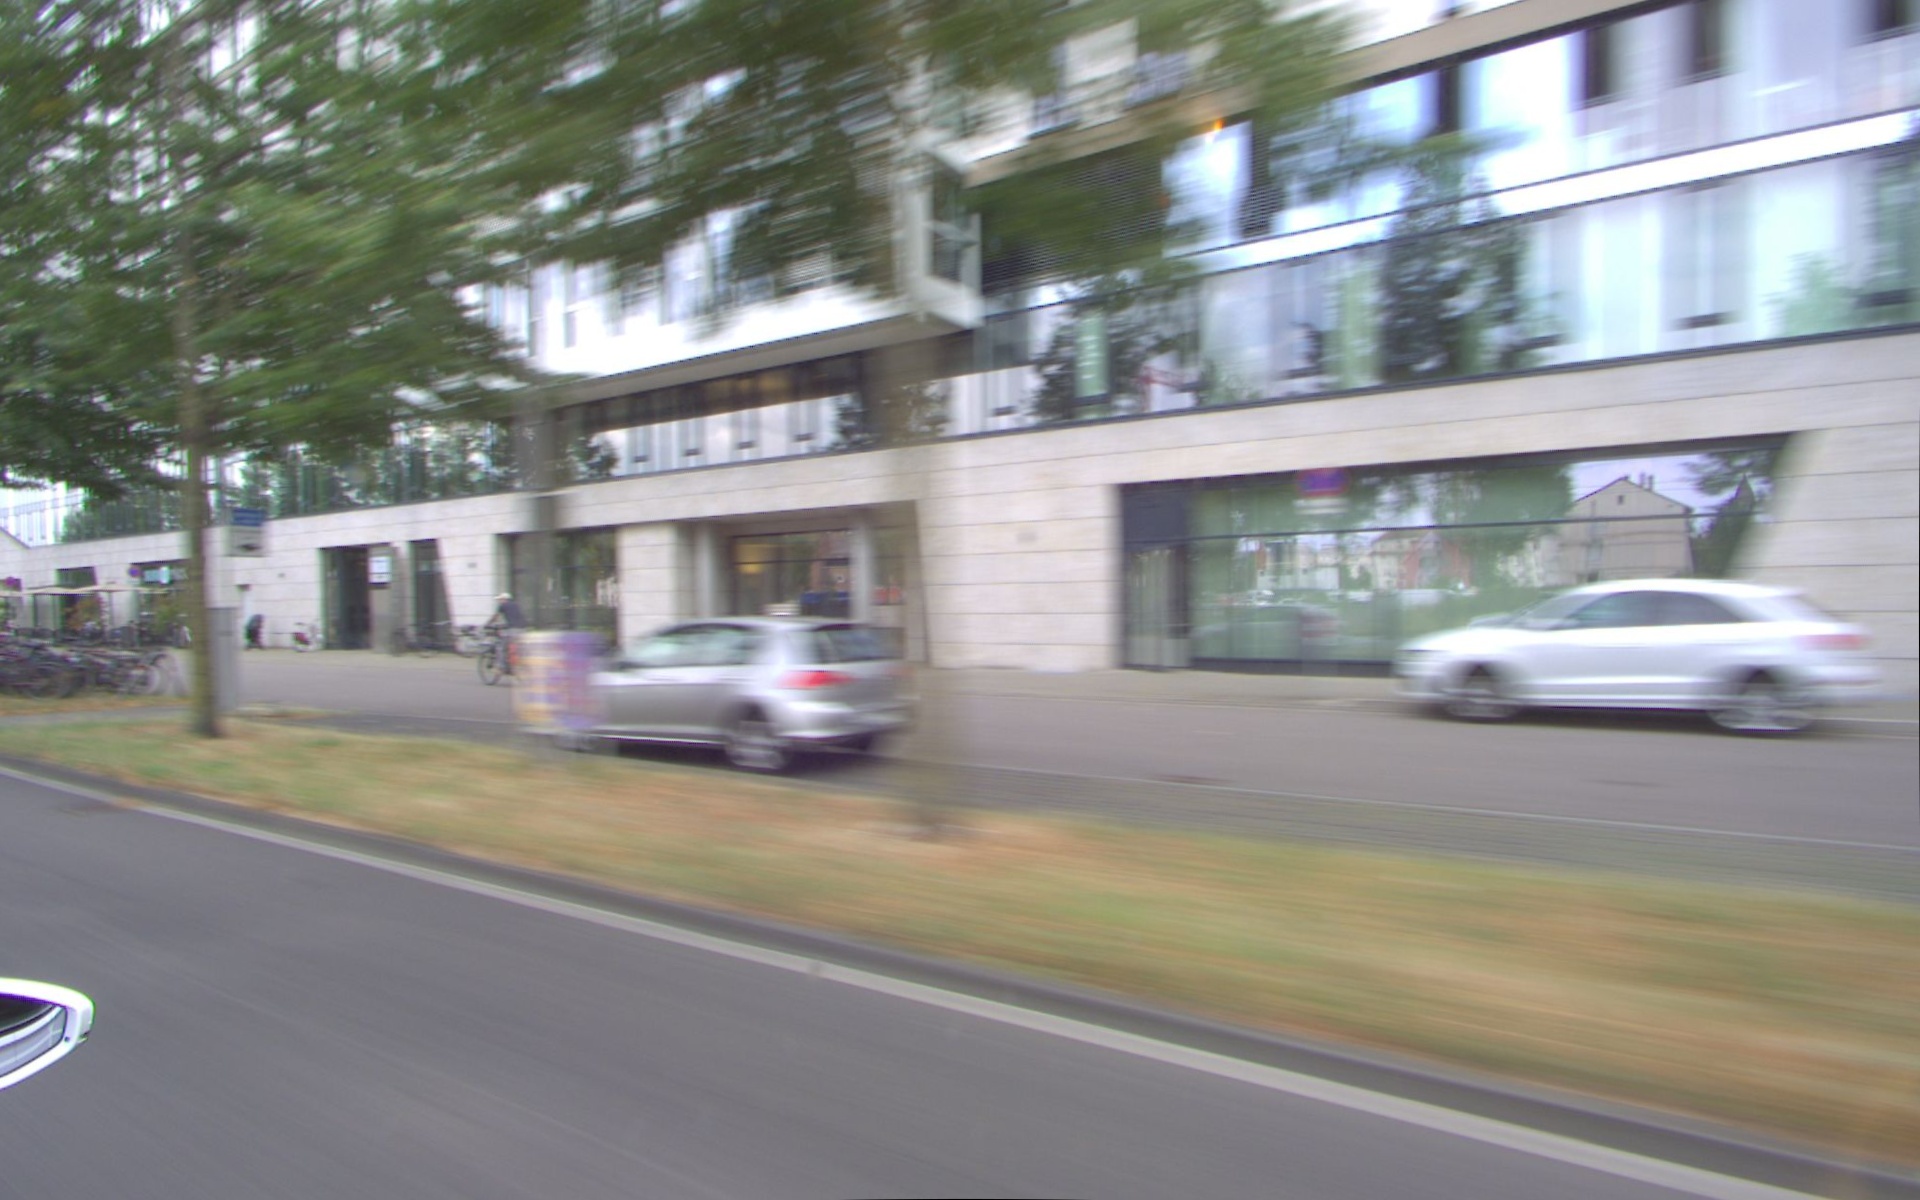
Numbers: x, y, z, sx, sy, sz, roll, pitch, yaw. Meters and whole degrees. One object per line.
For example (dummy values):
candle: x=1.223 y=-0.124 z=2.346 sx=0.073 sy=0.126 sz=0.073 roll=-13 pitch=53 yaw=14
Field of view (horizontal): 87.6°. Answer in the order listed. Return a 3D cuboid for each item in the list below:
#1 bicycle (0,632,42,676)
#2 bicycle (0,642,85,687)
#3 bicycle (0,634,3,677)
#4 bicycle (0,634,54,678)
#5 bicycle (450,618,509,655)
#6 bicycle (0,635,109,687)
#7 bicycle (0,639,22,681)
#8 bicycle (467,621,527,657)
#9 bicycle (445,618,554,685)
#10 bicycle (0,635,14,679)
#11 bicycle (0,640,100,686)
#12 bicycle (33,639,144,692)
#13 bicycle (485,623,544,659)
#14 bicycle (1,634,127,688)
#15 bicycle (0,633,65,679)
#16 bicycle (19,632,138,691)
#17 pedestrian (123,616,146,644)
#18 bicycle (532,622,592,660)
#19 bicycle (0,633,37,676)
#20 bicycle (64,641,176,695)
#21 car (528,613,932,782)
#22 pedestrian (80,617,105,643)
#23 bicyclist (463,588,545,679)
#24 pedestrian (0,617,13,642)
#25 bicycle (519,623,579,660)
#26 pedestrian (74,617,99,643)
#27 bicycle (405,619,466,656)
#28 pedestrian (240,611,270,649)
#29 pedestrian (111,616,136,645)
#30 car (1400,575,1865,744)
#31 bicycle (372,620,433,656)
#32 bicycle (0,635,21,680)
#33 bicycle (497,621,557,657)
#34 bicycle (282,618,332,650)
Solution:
bicycle: x=-22.054 y=1.217 z=22.672 sx=0.599 sy=0.986 sz=1.745 roll=0 pitch=-3 yaw=24
bicycle: x=-19.739 y=1.368 z=21.199 sx=0.579 sy=0.917 sz=1.716 roll=0 pitch=-3 yaw=24
bicycle: x=-24.868 y=1.352 z=24.536 sx=0.632 sy=1.078 sz=1.929 roll=0 pitch=-3 yaw=29
bicycle: x=-21.361 y=1.237 z=22.219 sx=0.599 sy=0.986 sz=1.745 roll=0 pitch=-3 yaw=24
bicycle: x=-14.105 y=1.057 z=29.422 sx=0.525 sy=1.040 sz=1.527 roll=0 pitch=0 yaw=29
bicycle: x=-18.634 y=1.240 z=20.472 sx=0.600 sy=1.024 sz=1.774 roll=0 pitch=-3 yaw=24
bicycle: x=-23.265 y=1.393 z=23.463 sx=0.599 sy=0.986 sz=1.745 roll=0 pitch=-3 yaw=24
bicycle: x=-13.343 y=1.113 z=28.890 sx=0.525 sy=0.966 sz=1.527 roll=0 pitch=0 yaw=29
bicycle: x=-9.432 y=1.028 z=20.495 sx=2.235 sy=1.252 sz=0.899 roll=-1 pitch=3 yaw=32
bicycle: x=-24.241 y=1.372 z=24.181 sx=0.535 sy=1.078 sz=1.932 roll=0 pitch=-3 yaw=24
bicycle: x=-19.187 y=1.308 z=20.939 sx=0.579 sy=0.917 sz=1.716 roll=0 pitch=-3 yaw=24
bicycle: x=-16.752 y=1.246 z=19.281 sx=0.477 sy=0.965 sz=1.528 roll=0 pitch=-2 yaw=29
bicycle: x=-12.646 y=1.142 z=28.473 sx=0.525 sy=0.966 sz=1.527 roll=0 pitch=0 yaw=29
bicycle: x=-18.012 y=1.220 z=20.177 sx=0.600 sy=1.025 sz=1.773 roll=0 pitch=-2 yaw=24
bicycle: x=-20.805 y=1.228 z=21.900 sx=0.599 sy=0.986 sz=1.716 roll=0 pitch=-3 yaw=24
bicycle: x=-17.330 y=1.191 z=19.726 sx=0.517 sy=1.104 sz=1.667 roll=0 pitch=-2 yaw=29
pedestrian: x=-36.406 y=1.318 z=44.159 sx=0.712 sy=1.208 sz=0.753 roll=-1 pitch=1 yaw=-35
bicycle: x=-10.865 y=1.116 z=27.408 sx=0.525 sy=0.966 sz=1.527 roll=0 pitch=0 yaw=29
bicycle: x=-22.683 y=1.262 z=23.240 sx=0.599 sy=0.986 sz=1.745 roll=0 pitch=-3 yaw=24
bicycle: x=-15.977 y=1.278 z=19.085 sx=0.544 sy=0.965 sz=1.528 roll=0 pitch=-2 yaw=29
car: x=-2.480 y=0.869 z=10.449 sx=4.124 sy=1.440 sz=1.756 roll=-1 pitch=0 yaw=33
pedestrian: x=-41.038 y=1.402 z=47.370 sx=0.748 sy=1.208 sz=0.717 roll=0 pitch=1 yaw=34
bicyclist: x=-9.266 y=0.662 z=20.353 sx=1.113 sy=1.761 sz=0.994 roll=0 pitch=3 yaw=32
pedestrian: x=-49.592 y=1.522 z=51.660 sx=0.938 sy=1.244 sz=0.894 roll=0 pitch=1 yaw=38
bicycle: x=-11.341 y=1.129 z=27.687 sx=0.525 sy=0.966 sz=1.527 roll=0 pitch=0 yaw=29
pedestrian: x=-41.735 y=1.418 z=47.838 sx=0.748 sy=1.208 sz=0.717 roll=0 pitch=1 yaw=32
bicycle: x=-15.771 y=1.108 z=30.139 sx=0.525 sy=1.040 sz=1.595 roll=0 pitch=1 yaw=29
pedestrian: x=-26.400 y=1.115 z=37.506 sx=0.712 sy=1.425 sz=0.753 roll=0 pitch=1 yaw=40
pedestrian: x=-35.852 y=1.292 z=42.899 sx=0.767 sy=1.208 sz=1.096 roll=-1 pitch=1 yaw=-42
car: x=7.536 y=0.585 z=11.671 sx=4.180 sy=1.610 sz=1.852 roll=-1 pitch=2 yaw=33
bicycle: x=-17.312 y=1.156 z=31.104 sx=0.525 sy=1.040 sz=1.595 roll=0 pitch=1 yaw=29
bicycle: x=-23.768 y=1.363 z=23.860 sx=0.535 sy=1.078 sz=1.932 roll=0 pitch=-3 yaw=24
bicycle: x=-12.152 y=1.081 z=28.138 sx=0.525 sy=0.966 sz=1.527 roll=0 pitch=0 yaw=29
bicycle: x=-23.121 y=1.185 z=35.486 sx=0.599 sy=1.040 sz=1.602 roll=-1 pitch=1 yaw=6
